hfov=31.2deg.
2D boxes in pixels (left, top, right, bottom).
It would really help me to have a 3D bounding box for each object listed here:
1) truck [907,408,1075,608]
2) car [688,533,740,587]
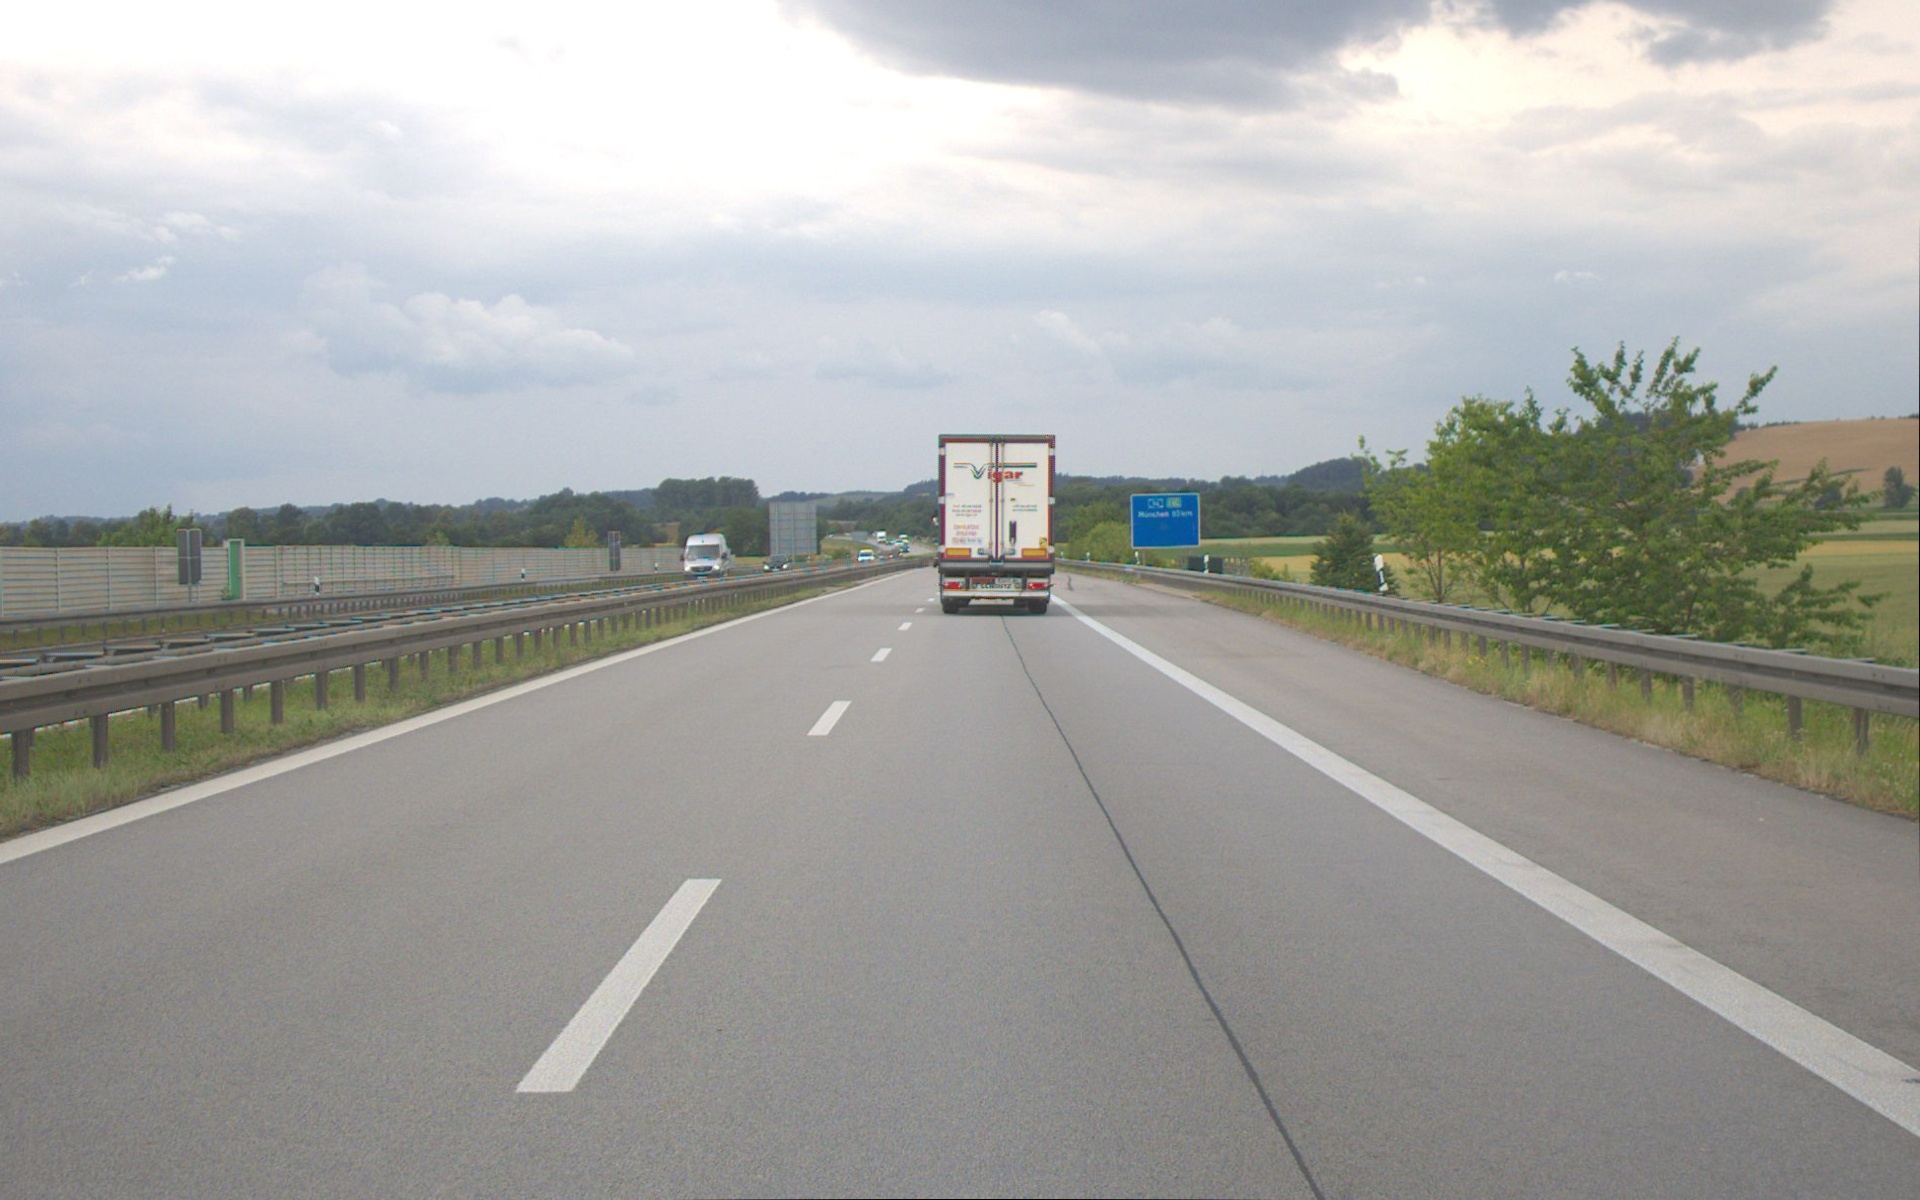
[{"bbox_3d":[0.605,-2.162,84.136,3.672,4.397,16.342,0,1,-1],"label":"truck"},{"bbox_3d":[-12.558,-2.043,175.735,2.070,2.594,6.289,-4,0,0],"label":"car"}]
